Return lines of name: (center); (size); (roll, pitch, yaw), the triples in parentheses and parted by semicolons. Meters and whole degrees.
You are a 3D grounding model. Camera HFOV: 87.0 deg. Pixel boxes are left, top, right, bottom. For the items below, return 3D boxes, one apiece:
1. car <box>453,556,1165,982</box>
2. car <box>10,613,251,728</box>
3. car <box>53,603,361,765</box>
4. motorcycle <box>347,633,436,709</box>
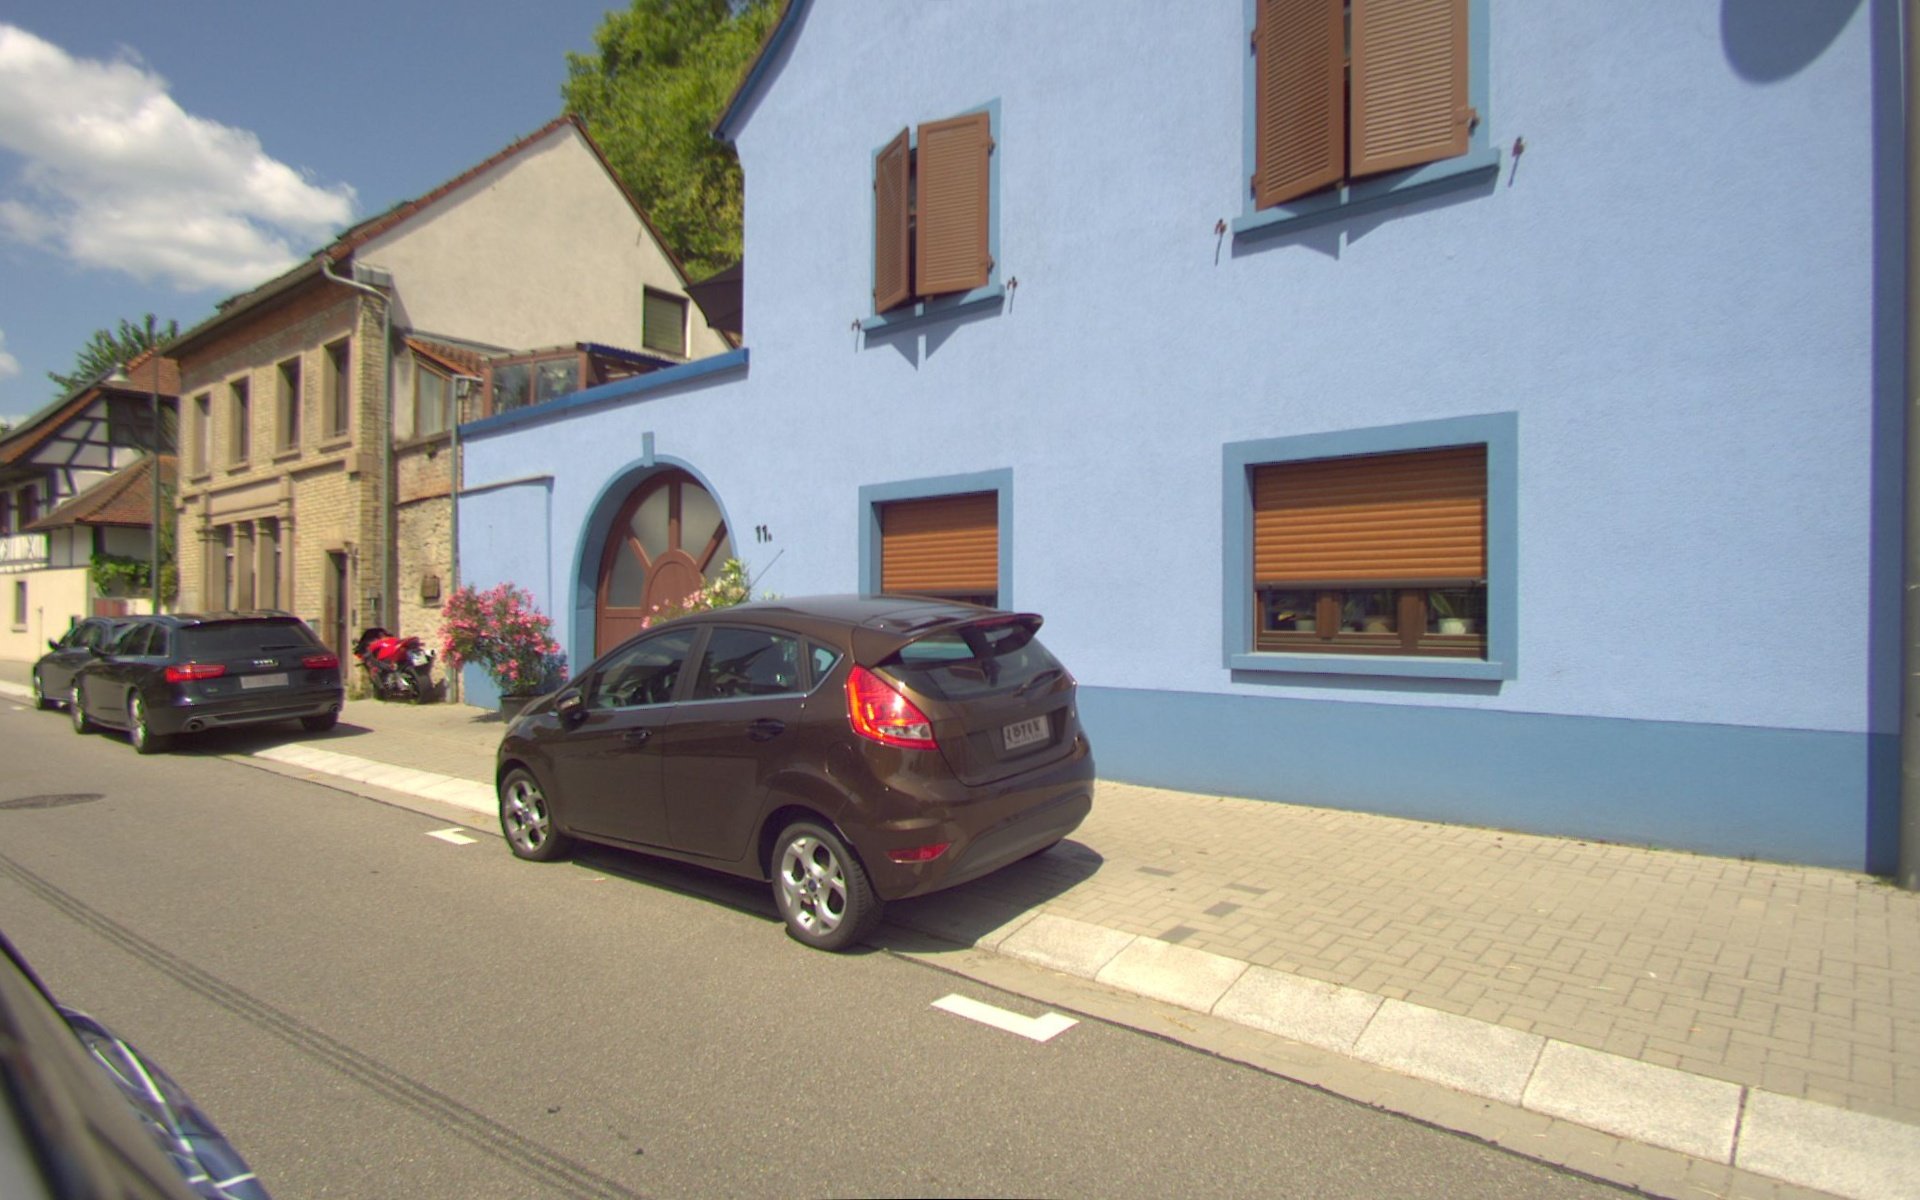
car: (-1.031, 0.644, 5.586); (3.853, 1.541, 1.700); (-2, 1, 40)
car: (-12.894, 0.961, 15.639); (4.539, 1.477, 1.938); (0, 0, 38)
car: (-9.043, 0.872, 11.999); (4.664, 1.475, 1.866); (-2, 1, 40)
motorcycle: (-8.542, 1.038, 15.167); (1.855, 1.008, 0.414); (0, 4, 37)
